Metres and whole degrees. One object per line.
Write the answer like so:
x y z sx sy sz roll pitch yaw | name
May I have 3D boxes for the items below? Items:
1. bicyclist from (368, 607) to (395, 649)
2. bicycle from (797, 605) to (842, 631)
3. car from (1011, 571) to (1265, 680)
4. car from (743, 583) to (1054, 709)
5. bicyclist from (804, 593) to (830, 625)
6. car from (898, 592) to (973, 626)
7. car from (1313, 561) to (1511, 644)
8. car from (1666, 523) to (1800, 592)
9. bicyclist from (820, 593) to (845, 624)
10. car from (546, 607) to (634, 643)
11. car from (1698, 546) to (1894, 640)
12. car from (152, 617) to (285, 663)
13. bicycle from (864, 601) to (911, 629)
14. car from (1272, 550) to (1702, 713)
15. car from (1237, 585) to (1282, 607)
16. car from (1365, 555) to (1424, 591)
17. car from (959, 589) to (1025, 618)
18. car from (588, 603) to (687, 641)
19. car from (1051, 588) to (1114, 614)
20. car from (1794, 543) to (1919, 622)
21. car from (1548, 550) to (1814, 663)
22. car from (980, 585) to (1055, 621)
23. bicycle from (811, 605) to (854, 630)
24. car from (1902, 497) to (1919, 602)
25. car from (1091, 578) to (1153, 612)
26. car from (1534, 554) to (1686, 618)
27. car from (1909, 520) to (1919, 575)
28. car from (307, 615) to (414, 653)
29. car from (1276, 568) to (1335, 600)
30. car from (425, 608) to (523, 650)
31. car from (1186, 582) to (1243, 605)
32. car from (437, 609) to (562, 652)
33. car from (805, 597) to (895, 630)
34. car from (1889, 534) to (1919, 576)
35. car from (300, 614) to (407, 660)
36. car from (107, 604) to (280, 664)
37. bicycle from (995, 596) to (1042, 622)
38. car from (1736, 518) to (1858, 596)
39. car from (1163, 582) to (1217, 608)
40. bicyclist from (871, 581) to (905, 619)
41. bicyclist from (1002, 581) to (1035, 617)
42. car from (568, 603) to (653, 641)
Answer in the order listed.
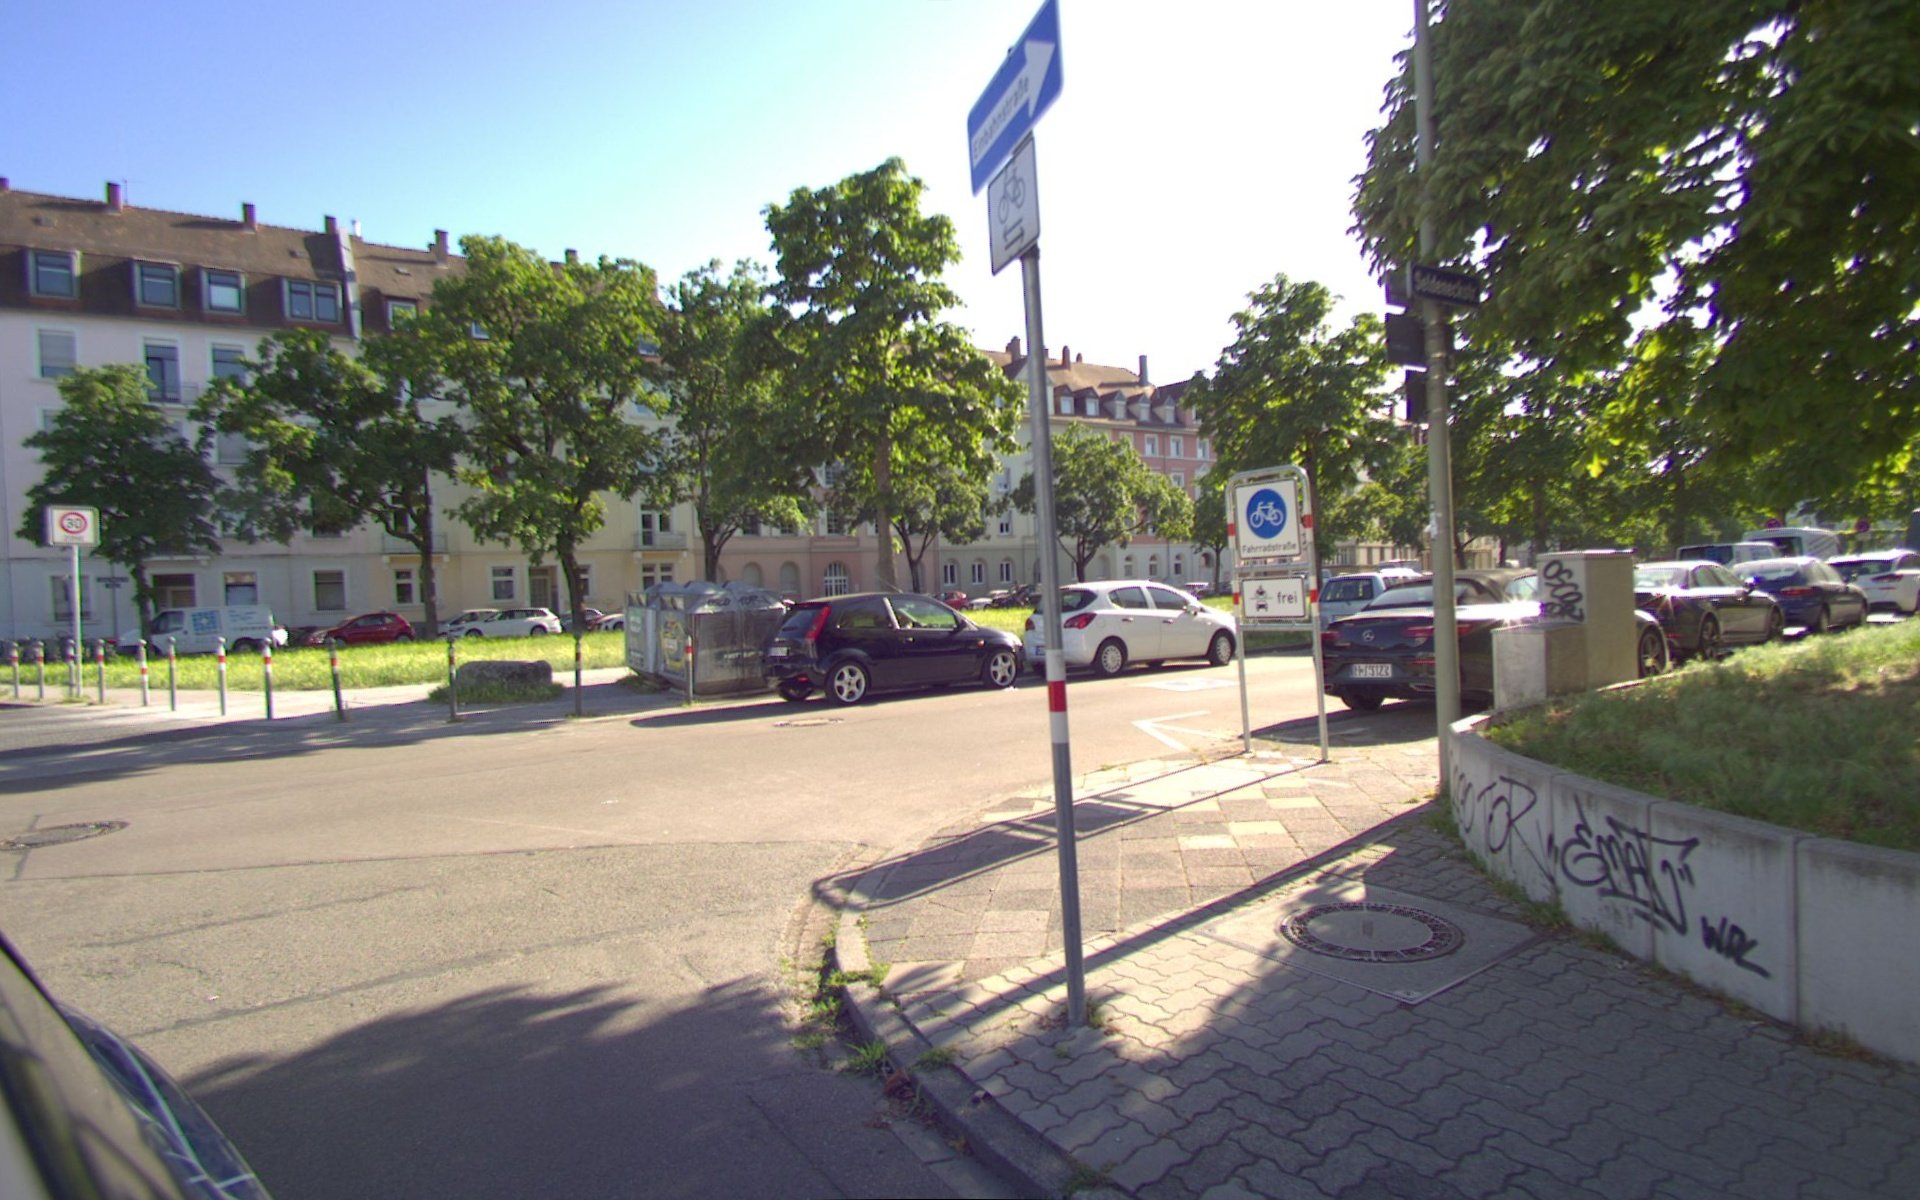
-24.467 1.176 42.825 0.865 1.703 0.633 -3 0 -35 | bicyclist
-6.561 0.839 47.226 1.924 1.087 0.736 -3 1 -37 | bicycle
2.912 0.383 16.353 3.810 1.506 1.787 -2 -2 -34 | car
-0.792 0.573 13.900 3.851 1.435 1.758 -2 -2 -34 | car
-6.662 0.404 47.136 0.927 1.448 0.742 -2 -1 -35 | bicyclist
-1.367 0.484 57.030 4.015 1.699 1.640 -3 1 -37 | car
9.315 0.021 20.792 4.058 1.472 1.790 -3 1 -34 | car
23.882 -1.328 31.247 4.058 1.957 2.111 -3 1 -35 | car
-6.135 0.397 48.687 0.927 1.448 0.742 -2 -1 -35 | bicyclist
-18.863 1.241 51.625 3.798 1.627 1.895 -3 1 -36 | car
15.229 -0.165 18.384 3.966 1.498 1.789 -3 1 -36 | car
-31.253 1.651 42.724 4.382 1.598 2.004 -3 1 -39 | car
-3.653 0.761 51.185 0.812 1.261 2.601 -2 1 38 | bicycle
5.709 0.272 10.833 4.431 1.347 2.138 -3 -2 -34 | car
21.665 -0.300 73.143 3.180 1.451 1.525 -3 1 -37 | car
35.991 -2.277 83.828 5.534 2.764 1.926 -3 1 -37 | car
2.112 0.224 66.635 3.960 1.765 1.952 -3 1 -36 | car
-15.058 1.025 47.313 4.015 1.538 1.703 -3 1 -37 | car
7.705 0.038 63.493 3.711 1.439 1.704 -3 1 -34 | car
19.395 -0.399 21.096 4.058 1.498 2.000 -3 1 -34 | car
10.514 0.038 14.692 4.058 1.381 1.790 -3 1 -34 | car
3.459 0.173 60.493 4.389 1.922 1.746 -3 1 -37 | car
-6.123 0.845 48.669 1.924 1.087 0.736 -3 1 -37 | bicycle
27.309 -1.430 27.087 5.329 2.709 2.174 -3 1 -38 | car
11.731 -0.388 73.324 4.391 2.276 1.786 -3 1 -37 | car
17.061 -0.380 26.523 4.058 1.511 1.844 -3 1 -34 | car
49.256 -2.672 49.617 6.012 2.665 2.632 -3 1 -34 | car
-24.144 1.328 40.791 3.469 1.289 1.703 -3 1 -37 | car
26.166 -1.212 76.552 4.928 2.230 1.703 -3 1 -37 | car
-23.299 1.367 48.568 3.935 1.770 1.873 -3 1 -36 | car
17.828 -0.445 70.871 3.712 1.451 1.857 -3 1 -35 | car
-19.896 1.272 43.828 4.622 1.573 1.703 -3 1 -37 | car
-5.843 0.705 53.907 4.455 1.560 1.766 -3 1 -37 | car
44.677 -2.124 46.480 4.058 1.799 2.022 -3 0 -34 | car
-27.396 1.623 45.726 3.987 1.765 2.005 -3 1 -34 | car
-28.675 1.231 38.035 5.016 1.886 2.093 -3 1 -37 | car
3.191 0.500 54.964 2.592 1.261 0.814 -3 1 -37 | bicycle
28.955 -1.489 34.996 4.058 2.515 2.111 -3 1 -34 | car
17.606 -0.400 77.495 3.935 1.762 1.870 -3 1 -36 | car
-3.647 -0.011 51.266 0.943 1.851 1.430 -3 -1 39 | bicyclist
3.188 -0.059 54.994 1.426 1.851 0.947 -2 -1 -36 | bicyclist
-17.134 1.056 49.712 3.533 1.614 1.786 -3 1 -36 | car
